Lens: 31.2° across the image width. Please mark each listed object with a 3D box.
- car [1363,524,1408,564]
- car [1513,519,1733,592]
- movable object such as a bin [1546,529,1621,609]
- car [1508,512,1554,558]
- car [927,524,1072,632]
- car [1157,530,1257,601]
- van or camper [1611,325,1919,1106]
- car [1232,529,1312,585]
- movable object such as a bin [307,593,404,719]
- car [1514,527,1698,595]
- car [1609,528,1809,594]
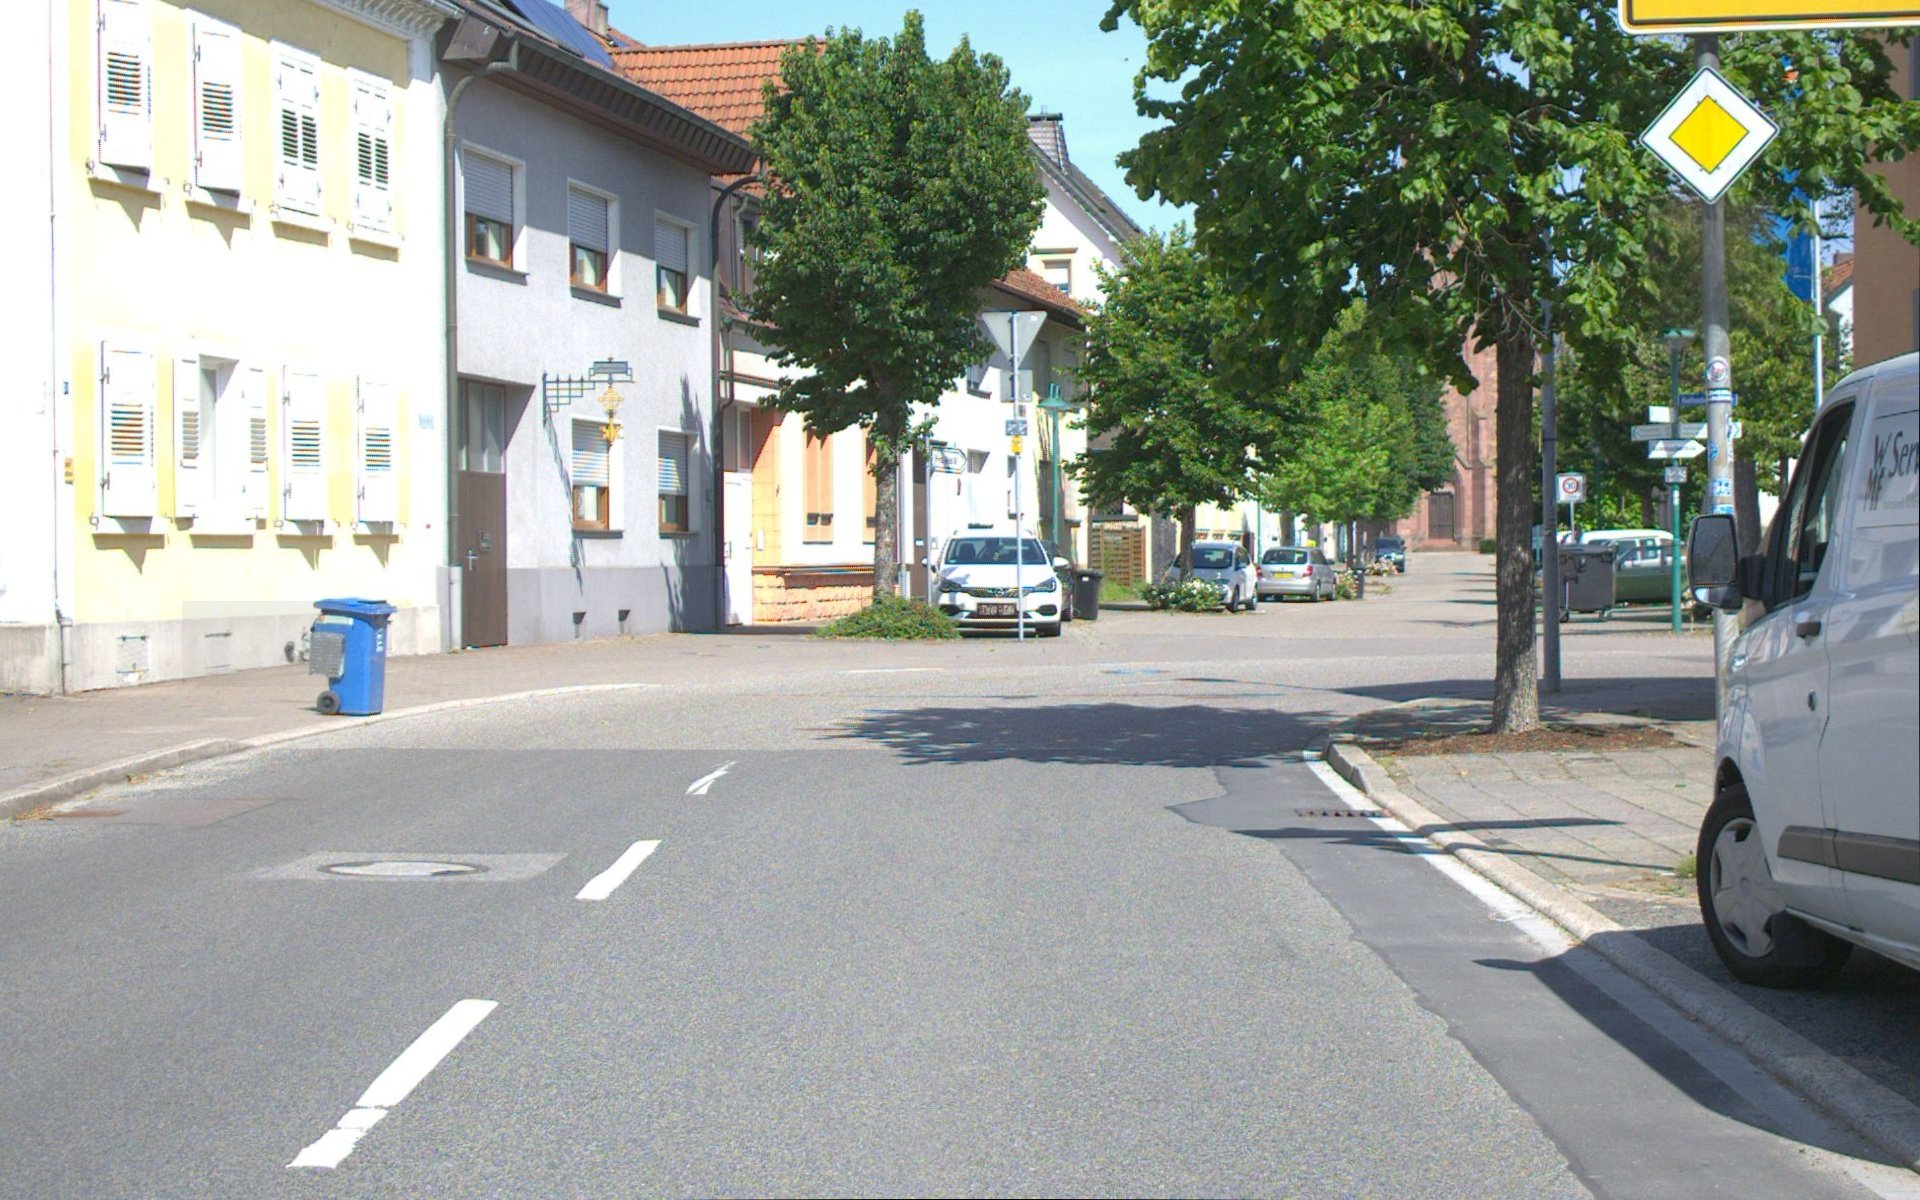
[{"bbox_3d":[19.927,-2.638,161.118,1.994,1.809,3.999,-1,1,6],"label":"car"},{"bbox_3d":[14.910,-1.006,77.436,4.805,1.618,1.999,0,1,10],"label":"car"},{"bbox_3d":[10.596,-0.530,58.444,1.188,1.333,0.788,-1,1,14],"label":"movable object such as a bin"},{"bbox_3d":[29.137,-3.278,175.359,2.246,2.271,4.501,1,1,10],"label":"car"},{"bbox_3d":[0.508,-0.346,48.142,1.849,1.435,4.513,0,1,-2],"label":"car"},{"bbox_3d":[5.796,-0.827,80.320,1.994,1.568,3.999,-1,1,9],"label":"car"},{"bbox_3d":[3.381,0.267,9.718,1.993,1.947,5.346,0,1,-1],"label":"van or camper"},{"bbox_3d":[8.243,-1.153,91.138,1.994,1.459,4.000,0,1,3],"label":"car"},{"bbox_3d":[-4.838,0.443,27.538,0.642,0.977,0.613,0,1,3],"label":"movable object such as a bin"},{"bbox_3d":[15.023,-0.910,80.086,4.152,1.563,1.999,0,1,10],"label":"car"},{"bbox_3d":[15.366,-0.804,70.703,3.925,1.340,1.999,0,1,10],"label":"car"}]
